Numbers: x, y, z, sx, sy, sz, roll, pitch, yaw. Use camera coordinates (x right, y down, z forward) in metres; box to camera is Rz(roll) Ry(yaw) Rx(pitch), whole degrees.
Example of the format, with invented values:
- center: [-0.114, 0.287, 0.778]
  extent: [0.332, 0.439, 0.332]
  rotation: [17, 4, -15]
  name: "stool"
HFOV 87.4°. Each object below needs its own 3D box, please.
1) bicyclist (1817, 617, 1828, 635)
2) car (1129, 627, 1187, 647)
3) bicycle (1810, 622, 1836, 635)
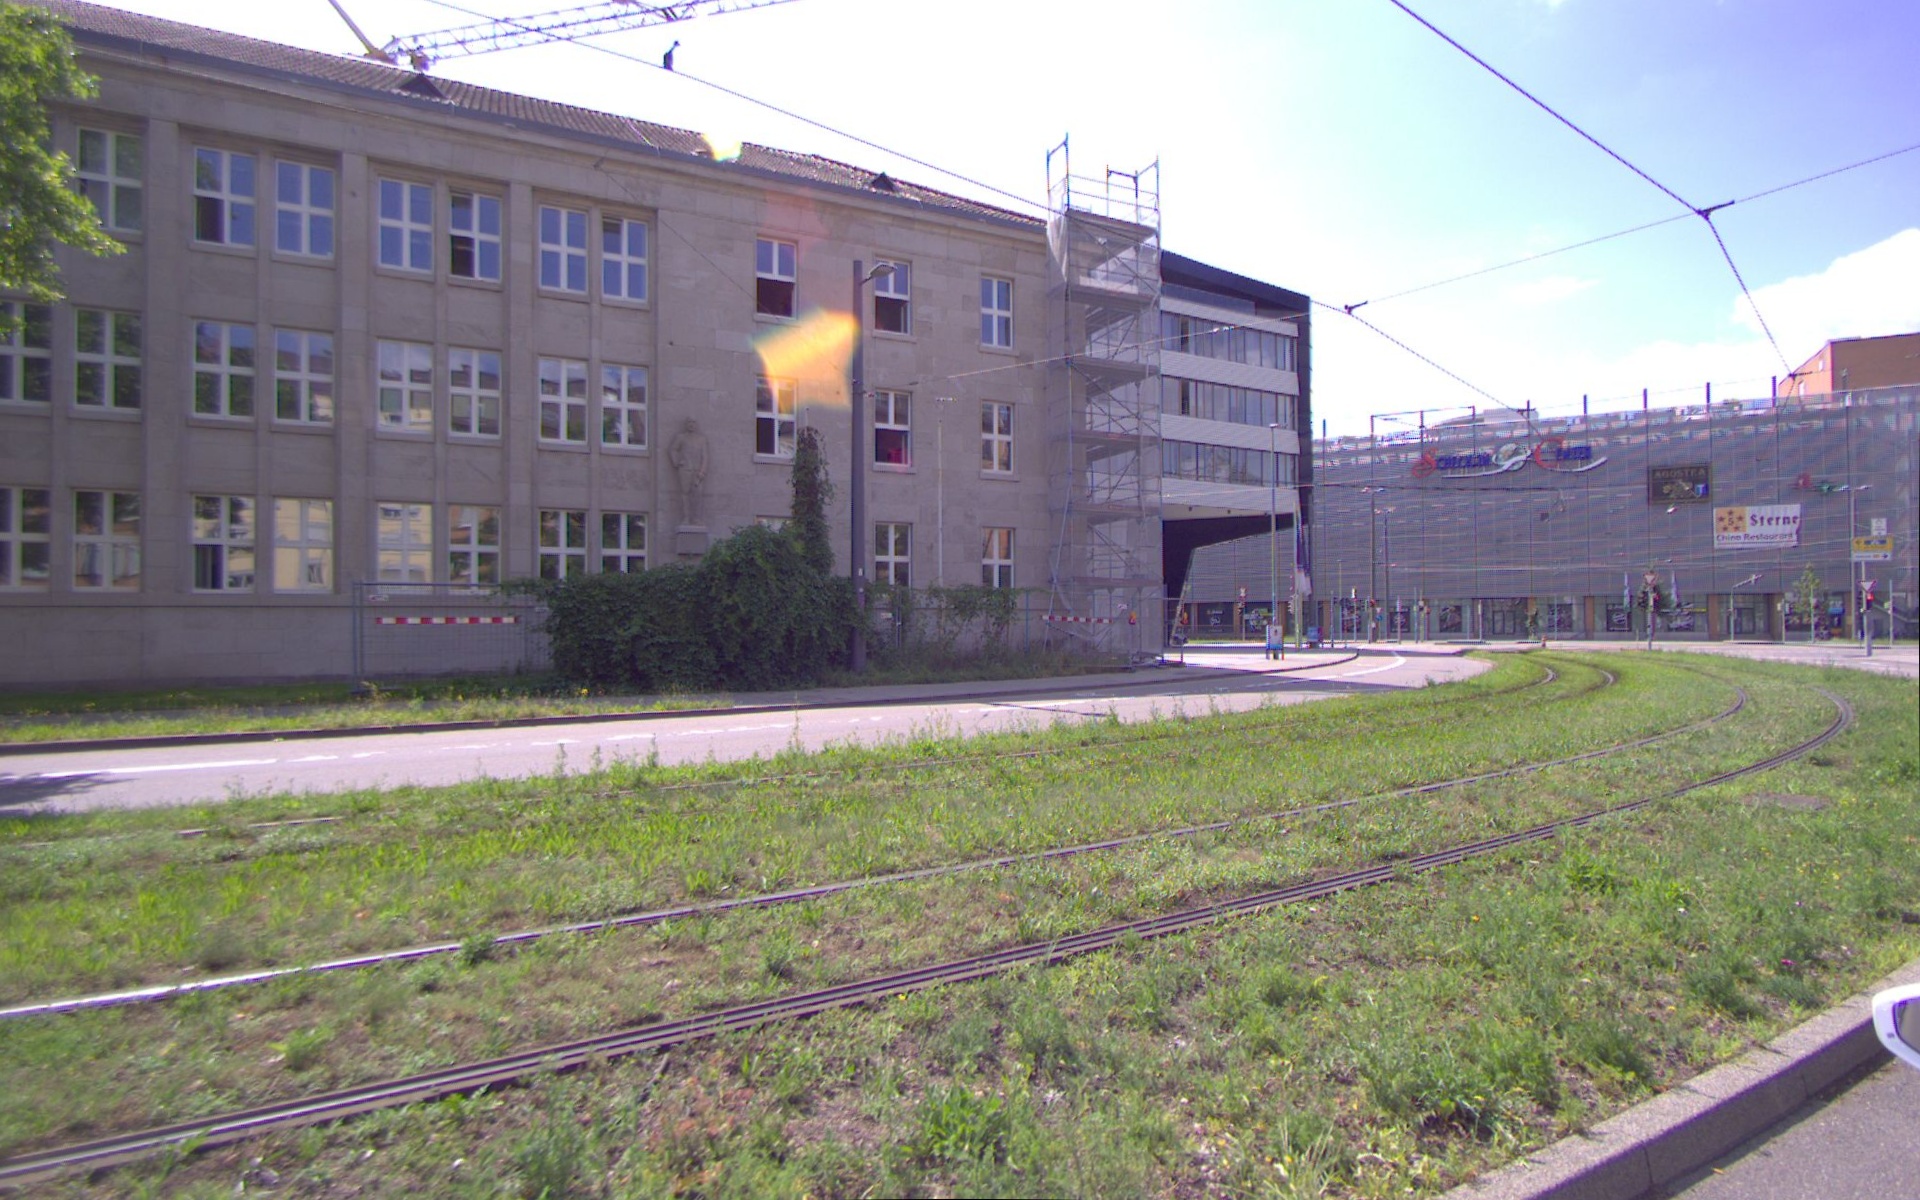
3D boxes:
- center: [80.826, 2.425, 94.153]
  extent: [0.652, 1.645, 0.550]
  rotation: [0, -1, 28]
  name: "bicyclist"
- center: [15.319, 2.851, 77.697]
  extent: [4.036, 1.488, 1.825]
  rotation: [-1, -1, 28]
  name: "car"
- center: [80.880, 2.648, 94.127]
  extent: [1.734, 1.240, 0.583]
  rotation: [0, -1, 28]
  name: "bicycle"
